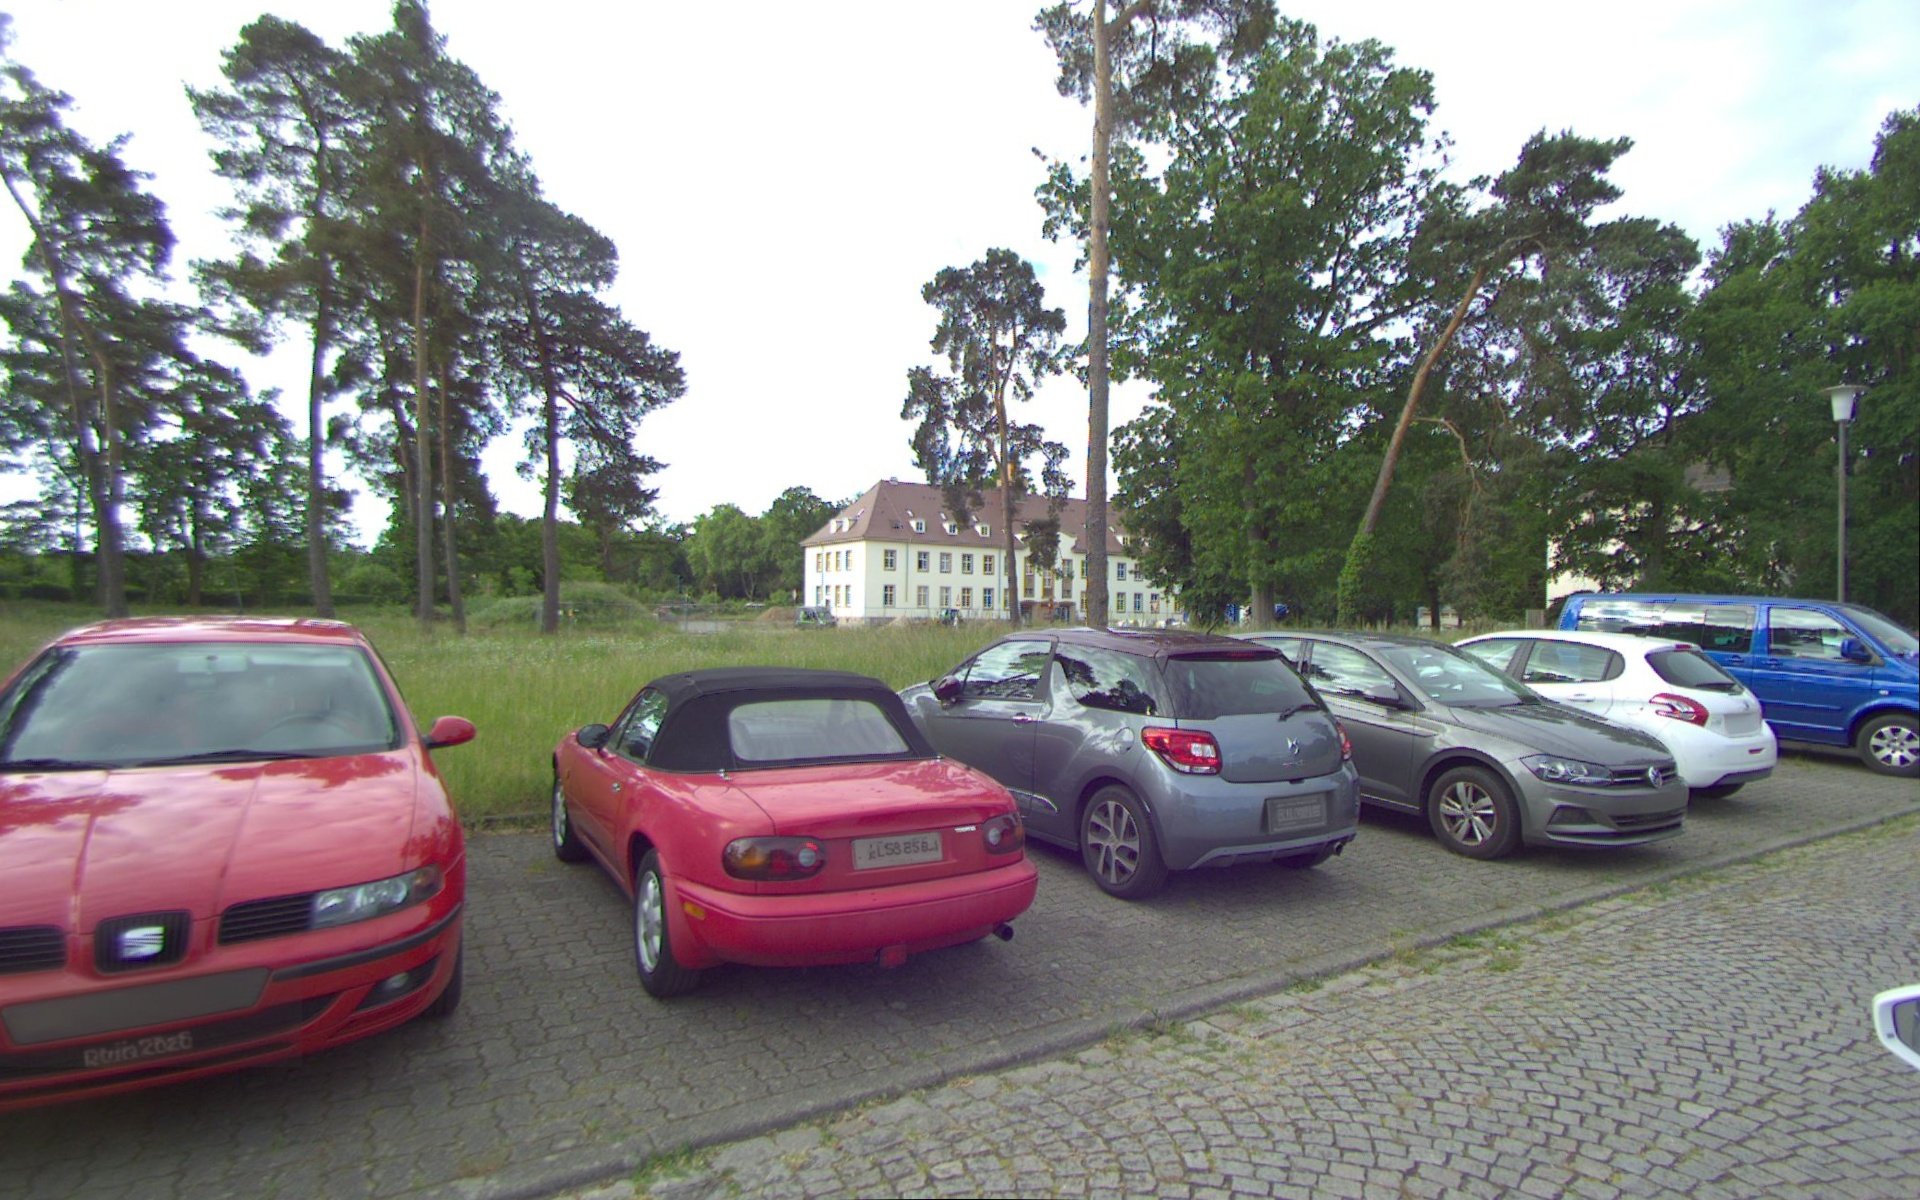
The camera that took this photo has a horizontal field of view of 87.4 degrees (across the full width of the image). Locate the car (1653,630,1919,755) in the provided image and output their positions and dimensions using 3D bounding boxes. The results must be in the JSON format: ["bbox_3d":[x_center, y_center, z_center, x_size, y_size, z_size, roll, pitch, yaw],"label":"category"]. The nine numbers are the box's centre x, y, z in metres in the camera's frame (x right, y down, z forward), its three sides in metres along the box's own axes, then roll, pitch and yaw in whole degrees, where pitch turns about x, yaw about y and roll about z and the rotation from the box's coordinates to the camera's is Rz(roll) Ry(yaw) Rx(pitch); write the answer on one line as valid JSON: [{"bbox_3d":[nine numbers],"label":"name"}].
[{"bbox_3d":[12.453,1.235,14.120,1.763,1.530,4.140,1,-1,-34],"label":"car"}]

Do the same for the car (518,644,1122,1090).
[{"bbox_3d":[-1.157,0.953,5.473,1.810,1.283,4.145,1,-1,-31],"label":"car"}]

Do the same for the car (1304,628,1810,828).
[{"bbox_3d":[5.732,1.077,10.171,1.825,1.517,4.047,1,-1,-31],"label":"car"}]

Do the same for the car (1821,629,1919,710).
[{"bbox_3d":[19.647,1.377,19.472,1.887,1.530,4.141,1,-1,-33],"label":"car"}]

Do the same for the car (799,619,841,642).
[{"bbox_3d":[-14.416,3.128,103.235,1.983,2.229,4.981,1,-1,-39],"label":"car"}]

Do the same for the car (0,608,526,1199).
[{"bbox_3d":[-3.248,0.799,4.398,1.844,1.496,4.142,1,-1,-32],"label":"car"}]

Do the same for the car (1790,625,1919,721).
[{"bbox_3d":[17.551,1.293,17.708,1.966,1.644,4.139,1,-1,-34],"label":"car"}]

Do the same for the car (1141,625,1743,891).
[{"bbox_3d":[3.552,0.995,8.221,1.843,1.511,4.146,1,-1,-30],"label":"car"}]

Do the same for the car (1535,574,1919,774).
[{"bbox_3d":[10.284,0.824,12.770,2.092,2.150,4.754,1,-1,-33],"label":"car"}]

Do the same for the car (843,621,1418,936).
[{"bbox_3d":[0.855,0.932,7.216,1.825,1.502,4.145,1,-1,-31],"label":"car"}]
